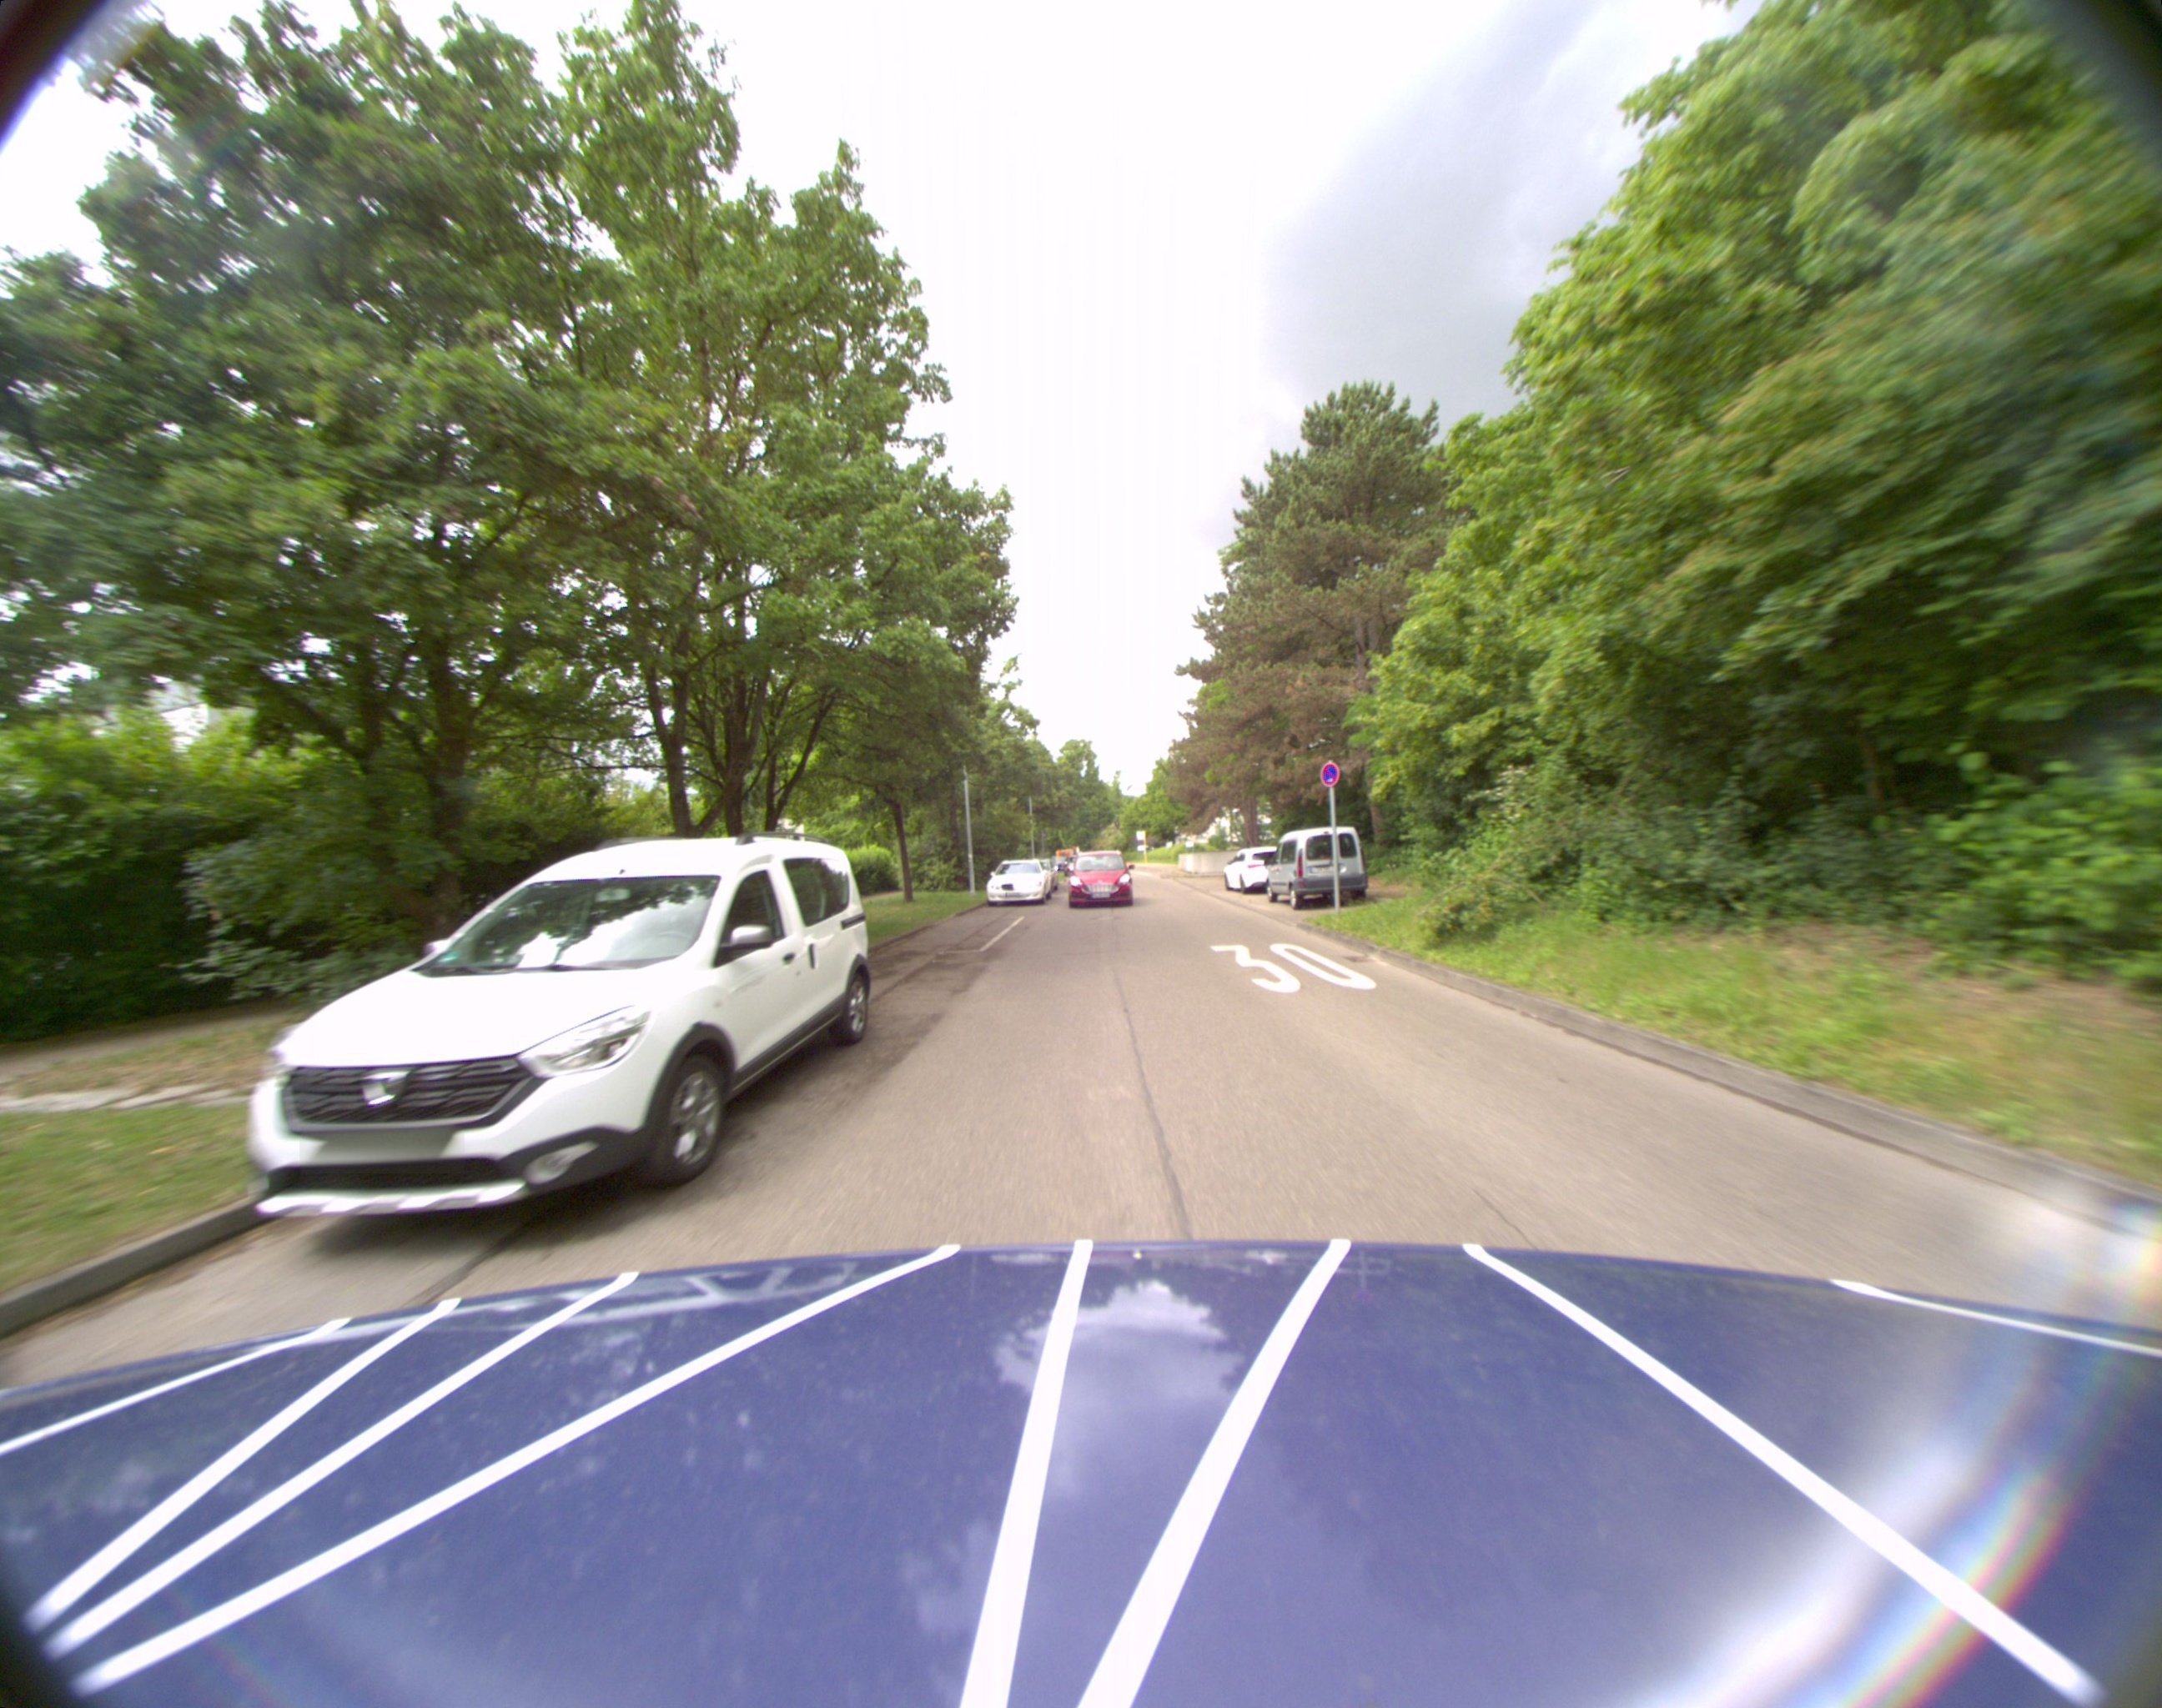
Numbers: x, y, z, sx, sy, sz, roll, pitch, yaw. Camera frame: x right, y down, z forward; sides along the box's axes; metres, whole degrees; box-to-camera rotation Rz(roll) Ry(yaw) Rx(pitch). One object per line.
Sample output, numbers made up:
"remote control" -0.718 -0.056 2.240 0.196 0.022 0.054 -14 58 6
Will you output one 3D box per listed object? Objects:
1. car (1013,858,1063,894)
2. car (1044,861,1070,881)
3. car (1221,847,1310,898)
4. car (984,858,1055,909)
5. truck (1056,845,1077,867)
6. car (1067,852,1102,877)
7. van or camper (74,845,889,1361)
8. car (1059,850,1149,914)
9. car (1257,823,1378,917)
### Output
"car" -1.877 0.949 34.144 1.797 1.402 4.059 -2 0 3
"car" -2.453 1.700 75.260 2.000 1.663 3.996 -5 2 -8
"car" 5.927 0.569 24.956 1.810 1.394 4.372 -4 0 0
"car" -2.039 0.957 26.605 1.891 1.498 5.176 -2 0 1
"truck" -1.769 0.289 94.939 2.328 2.455 6.020 -5 0 0
"car" 0.232 0.767 57.781 2.000 1.684 3.997 -5 2 -7
"van or camper" -2.792 0.924 5.024 1.806 1.827 4.319 -3 2 1
"car" 0.566 0.734 22.673 1.946 1.550 4.352 -5 1 -7
"car" 5.653 0.367 18.693 1.725 1.910 4.106 -5 -1 3
